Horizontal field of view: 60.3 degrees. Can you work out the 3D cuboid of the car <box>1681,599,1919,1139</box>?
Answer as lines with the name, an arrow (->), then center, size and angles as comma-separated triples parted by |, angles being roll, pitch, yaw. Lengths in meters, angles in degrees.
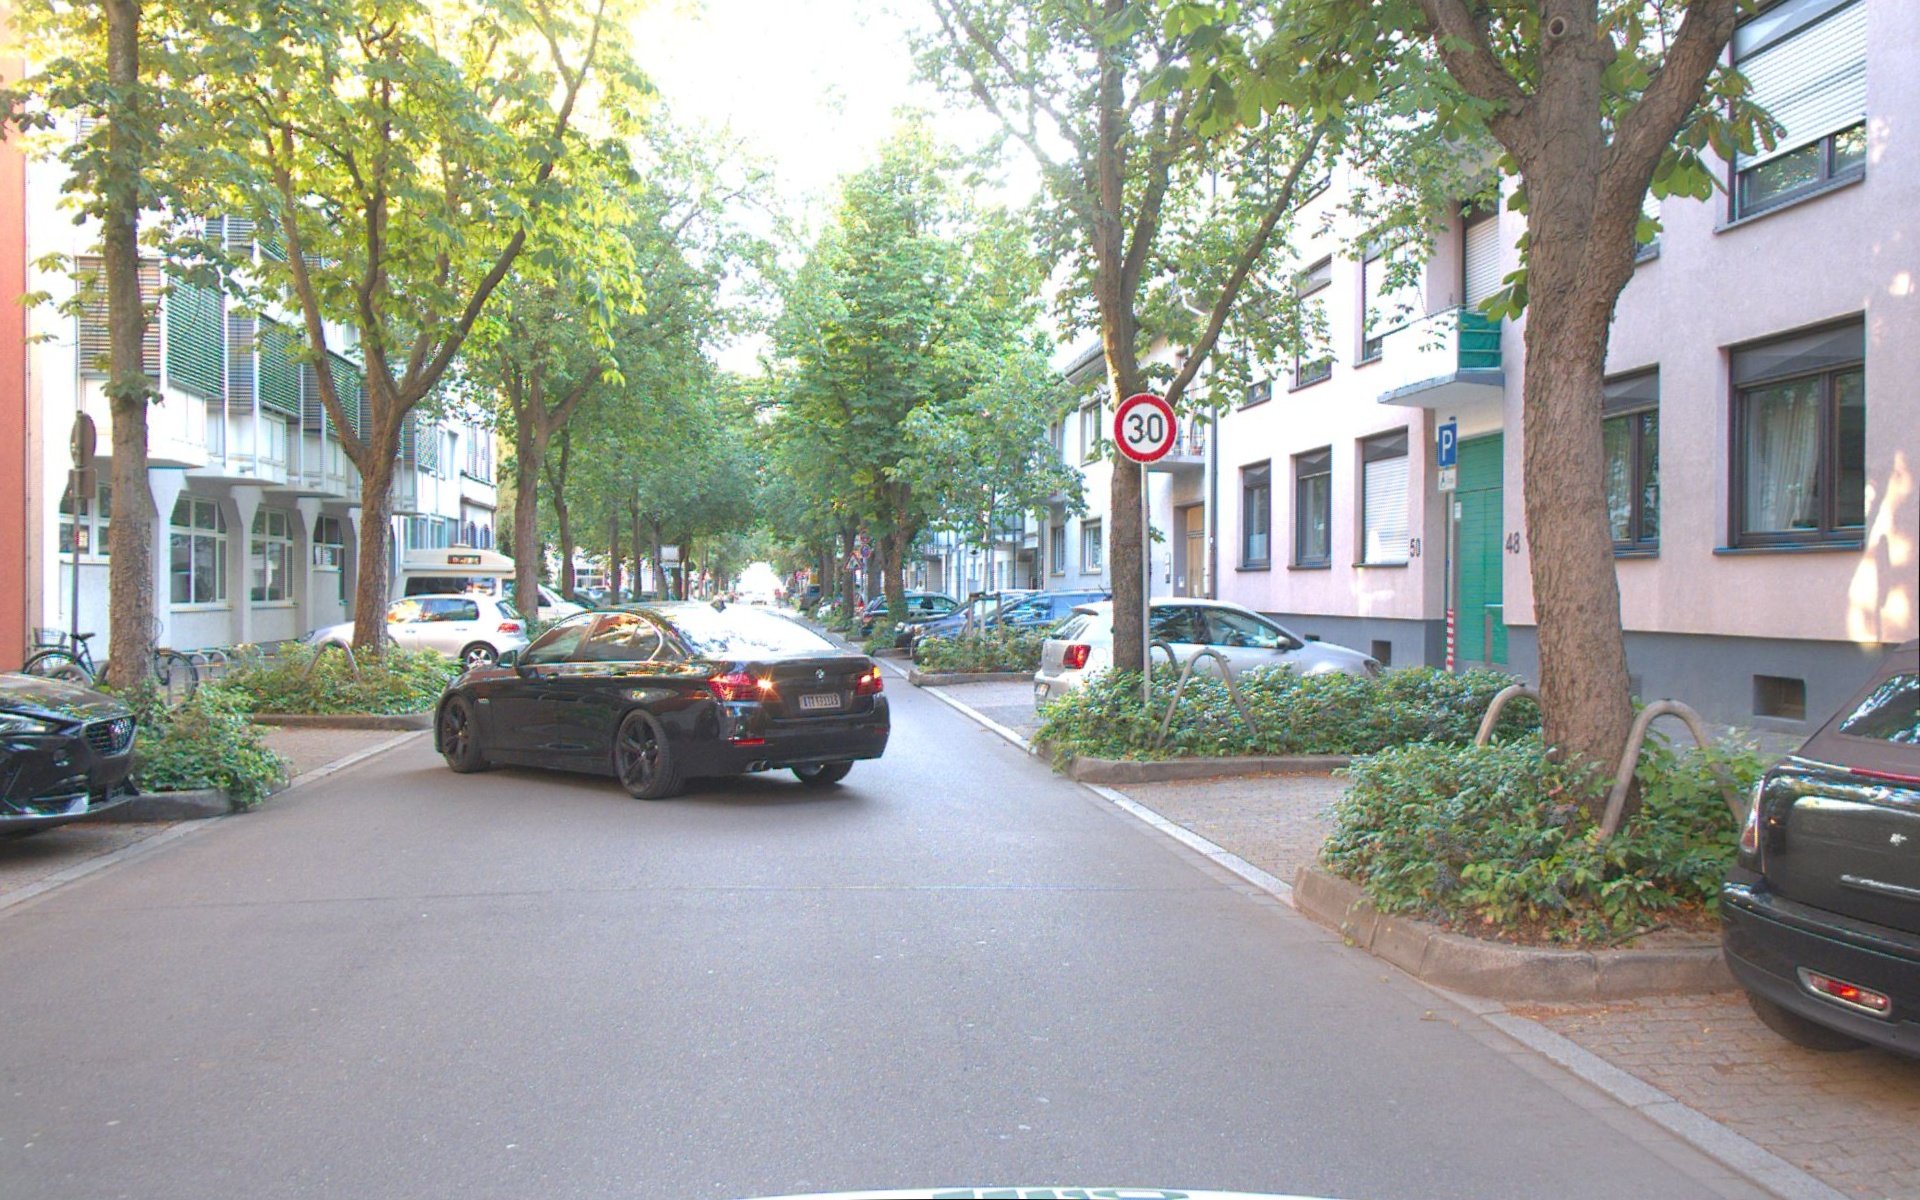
car -> 4.380, 0.686, 5.146 | 3.638, 1.452, 1.622 | -3, 1, -12

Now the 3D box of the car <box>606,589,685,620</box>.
car -> -16.491, 0.232, 86.917 | 3.945, 1.497, 1.637 | 1, 0, -7

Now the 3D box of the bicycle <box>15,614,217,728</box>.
bicycle -> -9.344, 0.769, 18.383 | 1.939, 1.220, 0.499 | 0, 0, -18

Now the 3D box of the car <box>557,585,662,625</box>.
car -> -13.988, 0.187, 66.203 | 3.945, 1.497, 1.637 | 1, 0, -7

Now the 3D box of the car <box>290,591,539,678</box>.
car -> -9.914, 0.619, 30.294 | 4.054, 1.497, 1.637 | 1, 0, -7

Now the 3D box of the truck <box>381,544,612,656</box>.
truck -> -10.772, -0.021, 38.707 | 4.903, 2.483, 1.914 | 1, 1, -6

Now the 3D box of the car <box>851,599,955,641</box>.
car -> -2.076, 0.718, 59.791 | 3.589, 1.417, 1.562 | -1, 0, -9

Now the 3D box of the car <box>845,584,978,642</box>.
car -> -1.387, 0.358, 46.791 | 3.589, 1.563, 1.562 | -1, 0, -9

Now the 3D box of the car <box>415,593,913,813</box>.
car -> -2.571, 0.692, 13.519 | 1.755, 1.475, 4.591 | 0, 1, -44

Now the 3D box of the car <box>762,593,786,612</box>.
car -> -15.625, 0.216, 138.960 | 1.956, 1.579, 3.994 | 0, 0, -7

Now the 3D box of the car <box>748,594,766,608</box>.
car -> -22.360, 0.152, 182.084 | 1.858, 1.500, 3.995 | 0, 0, -6

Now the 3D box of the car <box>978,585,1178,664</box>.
car -> 2.250, 0.451, 31.914 | 3.589, 1.417, 1.562 | -1, 0, -9

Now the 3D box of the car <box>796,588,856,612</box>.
car -> -8.294, 0.010, 102.484 | 3.589, 1.417, 1.562 | 1, 0, -9

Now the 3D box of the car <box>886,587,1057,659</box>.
car -> 0.238, 0.501, 38.123 | 3.722, 1.556, 1.562 | -1, 0, -9

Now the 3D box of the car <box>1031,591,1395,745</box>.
car -> 2.679, 0.688, 17.875 | 3.589, 1.505, 1.562 | -1, 0, -9

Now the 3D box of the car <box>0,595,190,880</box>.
car -> -7.117, 0.729, 9.746 | 4.274, 1.535, 1.832 | 1, 0, -7
